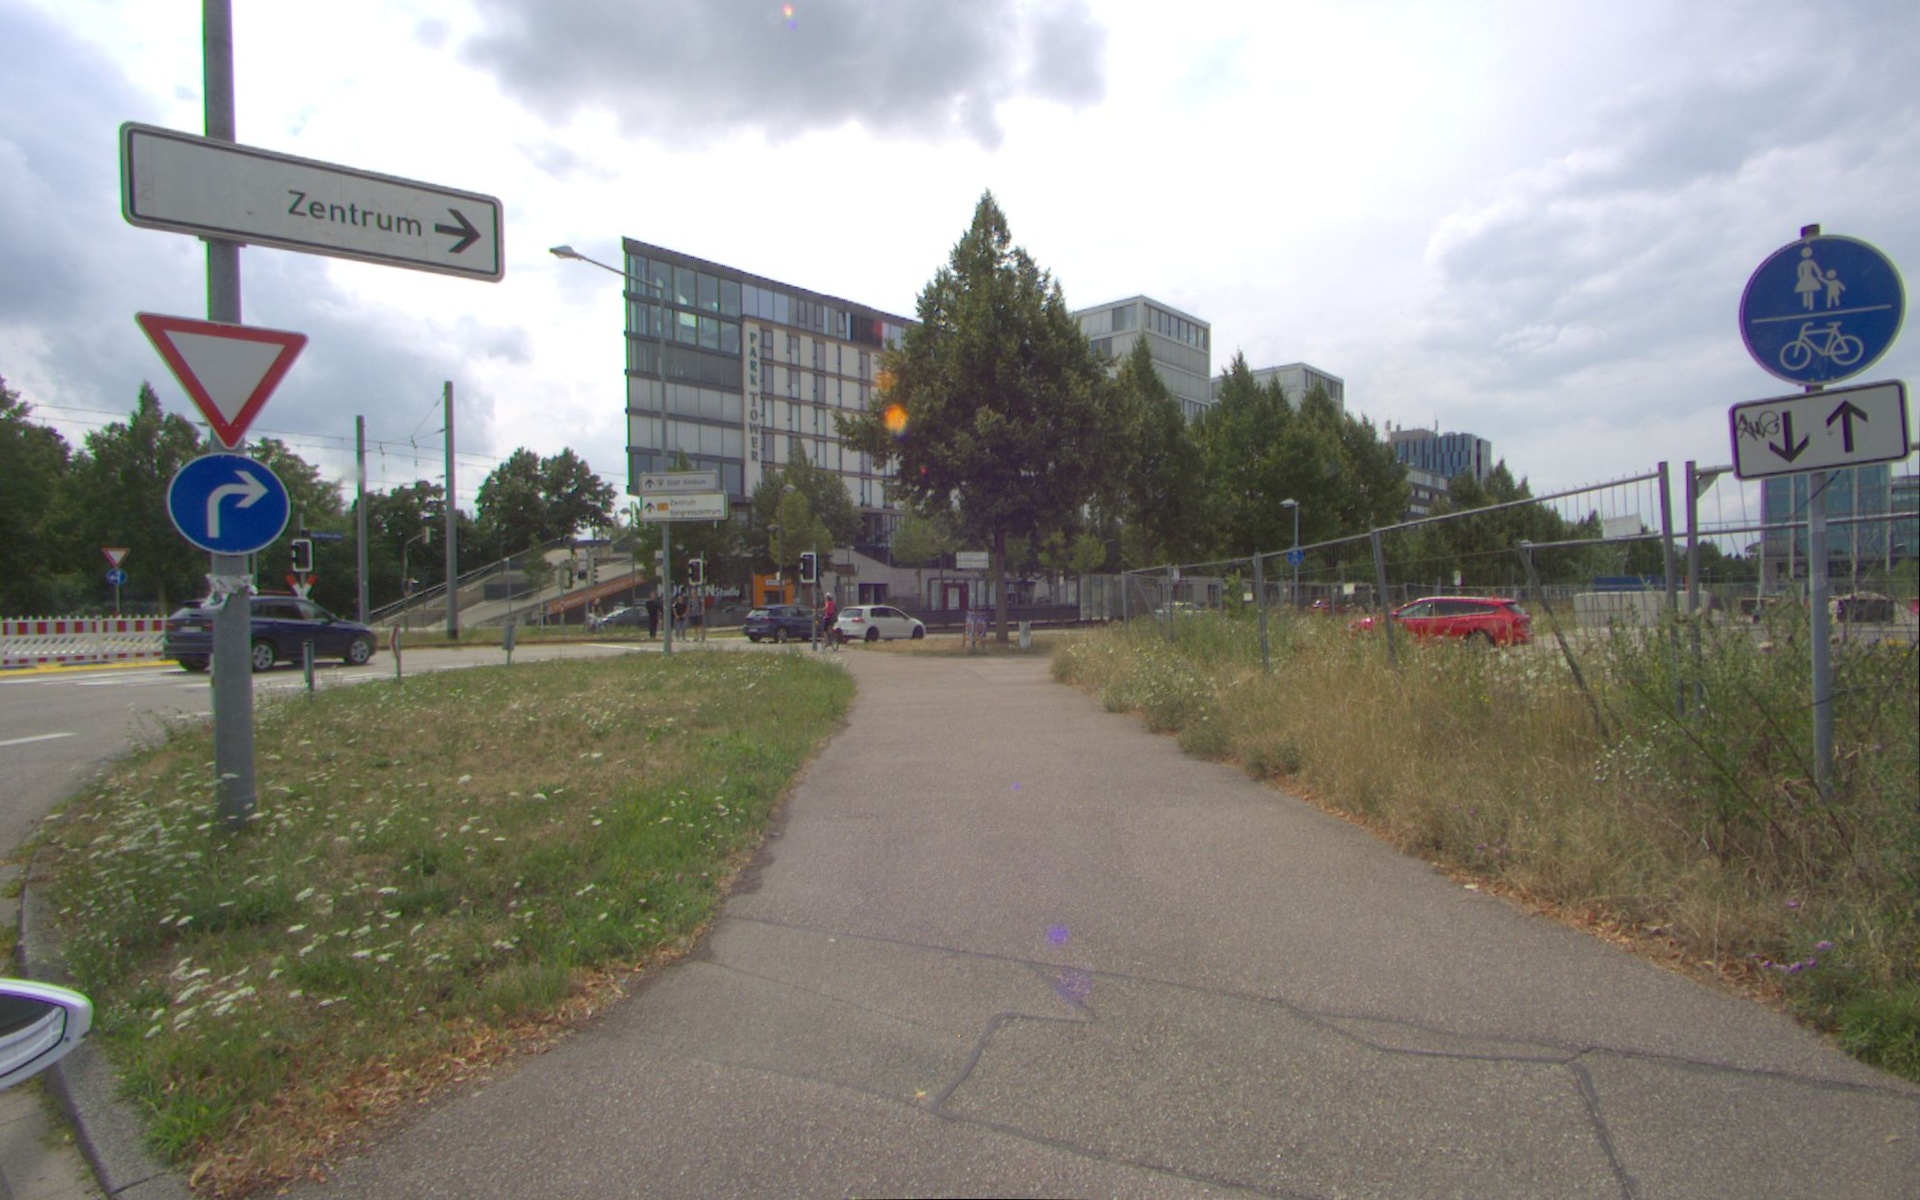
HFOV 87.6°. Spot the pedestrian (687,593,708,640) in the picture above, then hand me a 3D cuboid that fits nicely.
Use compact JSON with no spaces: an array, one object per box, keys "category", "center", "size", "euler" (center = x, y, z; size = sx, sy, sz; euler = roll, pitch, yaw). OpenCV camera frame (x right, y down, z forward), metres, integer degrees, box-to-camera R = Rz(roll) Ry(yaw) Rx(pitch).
[{"category":"pedestrian","center":[-10.185,0.644,38.905],"size":[0.546,1.805,0.576],"euler":[1,1,37]}]

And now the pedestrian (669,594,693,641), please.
[{"category":"pedestrian","center":[-10.650,0.664,38.251],"size":[0.546,1.805,0.685],"euler":[1,1,37]}]

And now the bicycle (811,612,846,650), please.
[{"category":"bicycle","center":[-4.376,1.015,33.199],"size":[0.778,1.183,2.037],"euler":[-1,0,-19]}]

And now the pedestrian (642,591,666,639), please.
[{"category":"pedestrian","center":[-11.616,0.552,38.054],"size":[0.546,1.805,0.685],"euler":[1,1,37]}]

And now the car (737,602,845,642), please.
[{"category":"car","center":[-6.644,0.823,39.675],"size":[1.780,1.517,4.084],"euler":[0,0,40]}]

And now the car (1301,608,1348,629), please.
[{"category":"car","center":[29.430,1.472,80.720],"size":[1.977,1.639,4.713],"euler":[0,0,41]}]

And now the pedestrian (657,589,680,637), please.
[{"category":"pedestrian","center":[-11.238,0.494,38.606],"size":[0.546,1.805,0.629],"euler":[1,1,37]}]

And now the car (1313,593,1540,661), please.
[{"category":"car","center":[11.961,0.657,25.872],"size":[5.072,1.625,1.777],"euler":[0,0,37]}]

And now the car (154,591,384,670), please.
[{"category":"car","center":[-15.065,0.611,22.170],"size":[1.699,1.554,4.370],"euler":[0,0,7]}]

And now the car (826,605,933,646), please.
[{"category":"car","center":[-3.103,0.941,39.238],"size":[1.780,1.517,4.228],"euler":[0,0,39]}]

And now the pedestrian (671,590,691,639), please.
[{"category":"pedestrian","center":[-10.909,0.570,39.128],"size":[0.546,1.887,0.527],"euler":[1,1,37]}]

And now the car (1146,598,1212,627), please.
[{"category":"car","center":[13.255,0.739,60.459],"size":[1.976,1.639,4.716],"euler":[0,0,39]}]

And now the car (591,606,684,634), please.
[{"category":"car","center":[-18.073,1.097,56.229],"size":[1.829,1.477,4.696],"euler":[1,0,43]}]

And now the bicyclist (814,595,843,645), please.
[{"category":"bicyclist","center":[-4.349,0.649,33.116],"size":[0.778,1.649,1.046],"euler":[-1,1,-19]}]
